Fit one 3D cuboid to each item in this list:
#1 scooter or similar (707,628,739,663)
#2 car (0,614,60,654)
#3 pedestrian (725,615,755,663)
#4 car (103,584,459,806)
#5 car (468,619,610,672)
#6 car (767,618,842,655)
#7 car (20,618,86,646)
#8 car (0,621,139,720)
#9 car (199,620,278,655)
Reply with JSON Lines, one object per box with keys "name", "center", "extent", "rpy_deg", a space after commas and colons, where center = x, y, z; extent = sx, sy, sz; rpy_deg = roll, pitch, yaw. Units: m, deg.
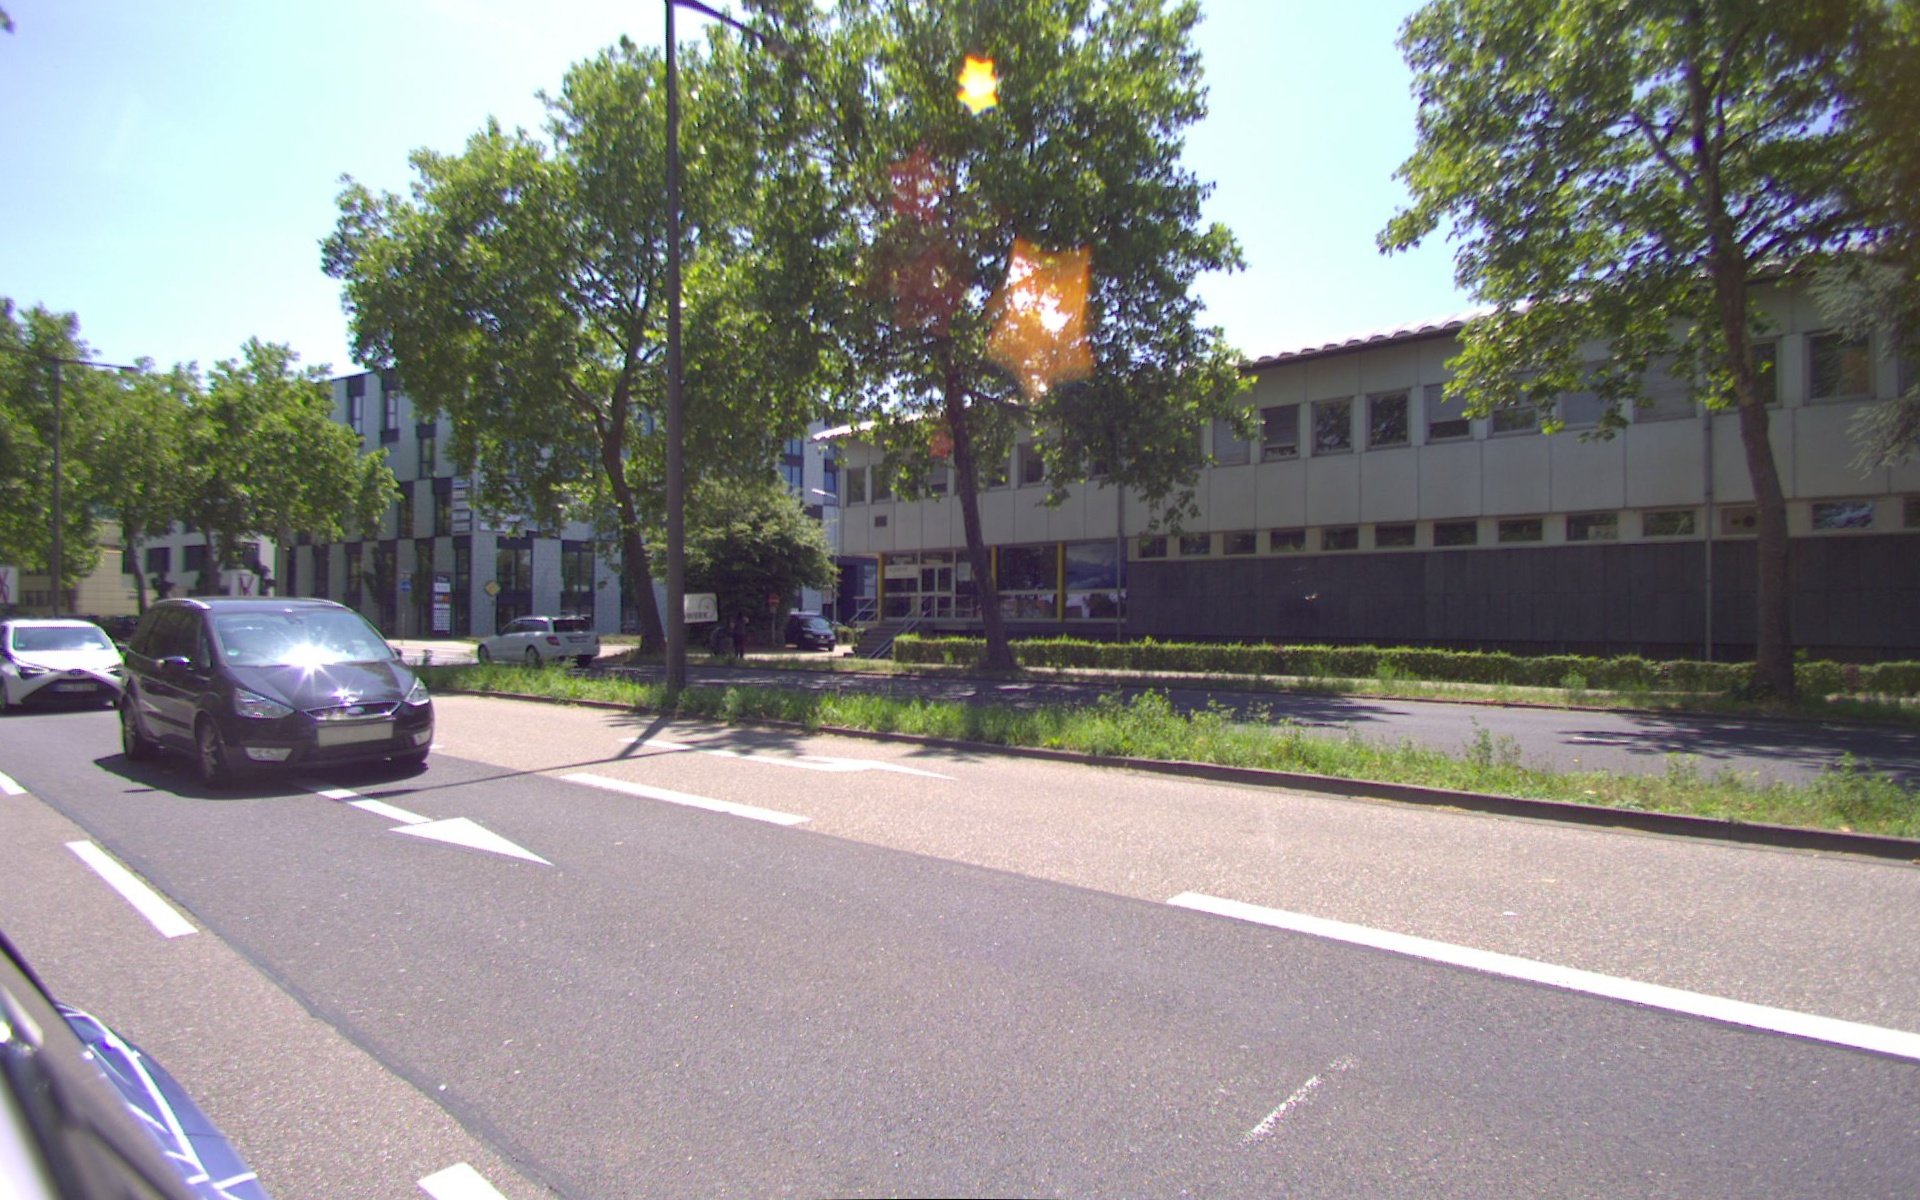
{"name": "scooter or similar", "center": [-8.098, 1.533, 34.580], "extent": [0.857, 1.172, 0.672], "rpy_deg": [-1, -2, 35]}
{"name": "car", "center": [-41.992, 1.503, 45.208], "extent": [4.615, 1.668, 1.930], "rpy_deg": [-1, -2, 39]}
{"name": "pedestrian", "center": [-7.414, 1.309, 34.123], "extent": [0.789, 1.572, 0.636], "rpy_deg": [-1, -2, 35]}
{"name": "car", "center": [-7.038, 0.802, 10.281], "extent": [4.645, 1.769, 1.835], "rpy_deg": [-1, -1, 41]}
{"name": "car", "center": [-12.276, 1.278, 29.398], "extent": [4.540, 1.429, 1.836], "rpy_deg": [-1, -2, 38]}
{"name": "car", "center": [-7.463, 1.724, 48.352], "extent": [3.528, 1.660, 1.795], "rpy_deg": [-1, 0, 44]}
{"name": "car", "center": [-49.603, 1.740, 55.329], "extent": [3.661, 1.454, 1.738], "rpy_deg": [-1, -2, 32]}
{"name": "car", "center": [-15.332, 1.105, 17.042], "extent": [3.647, 1.456, 1.603], "rpy_deg": [-1, 0, 39]}
{"name": "car", "center": [-31.422, 1.615, 44.071], "extent": [3.666, 1.470, 1.716], "rpy_deg": [-1, -2, 36]}
